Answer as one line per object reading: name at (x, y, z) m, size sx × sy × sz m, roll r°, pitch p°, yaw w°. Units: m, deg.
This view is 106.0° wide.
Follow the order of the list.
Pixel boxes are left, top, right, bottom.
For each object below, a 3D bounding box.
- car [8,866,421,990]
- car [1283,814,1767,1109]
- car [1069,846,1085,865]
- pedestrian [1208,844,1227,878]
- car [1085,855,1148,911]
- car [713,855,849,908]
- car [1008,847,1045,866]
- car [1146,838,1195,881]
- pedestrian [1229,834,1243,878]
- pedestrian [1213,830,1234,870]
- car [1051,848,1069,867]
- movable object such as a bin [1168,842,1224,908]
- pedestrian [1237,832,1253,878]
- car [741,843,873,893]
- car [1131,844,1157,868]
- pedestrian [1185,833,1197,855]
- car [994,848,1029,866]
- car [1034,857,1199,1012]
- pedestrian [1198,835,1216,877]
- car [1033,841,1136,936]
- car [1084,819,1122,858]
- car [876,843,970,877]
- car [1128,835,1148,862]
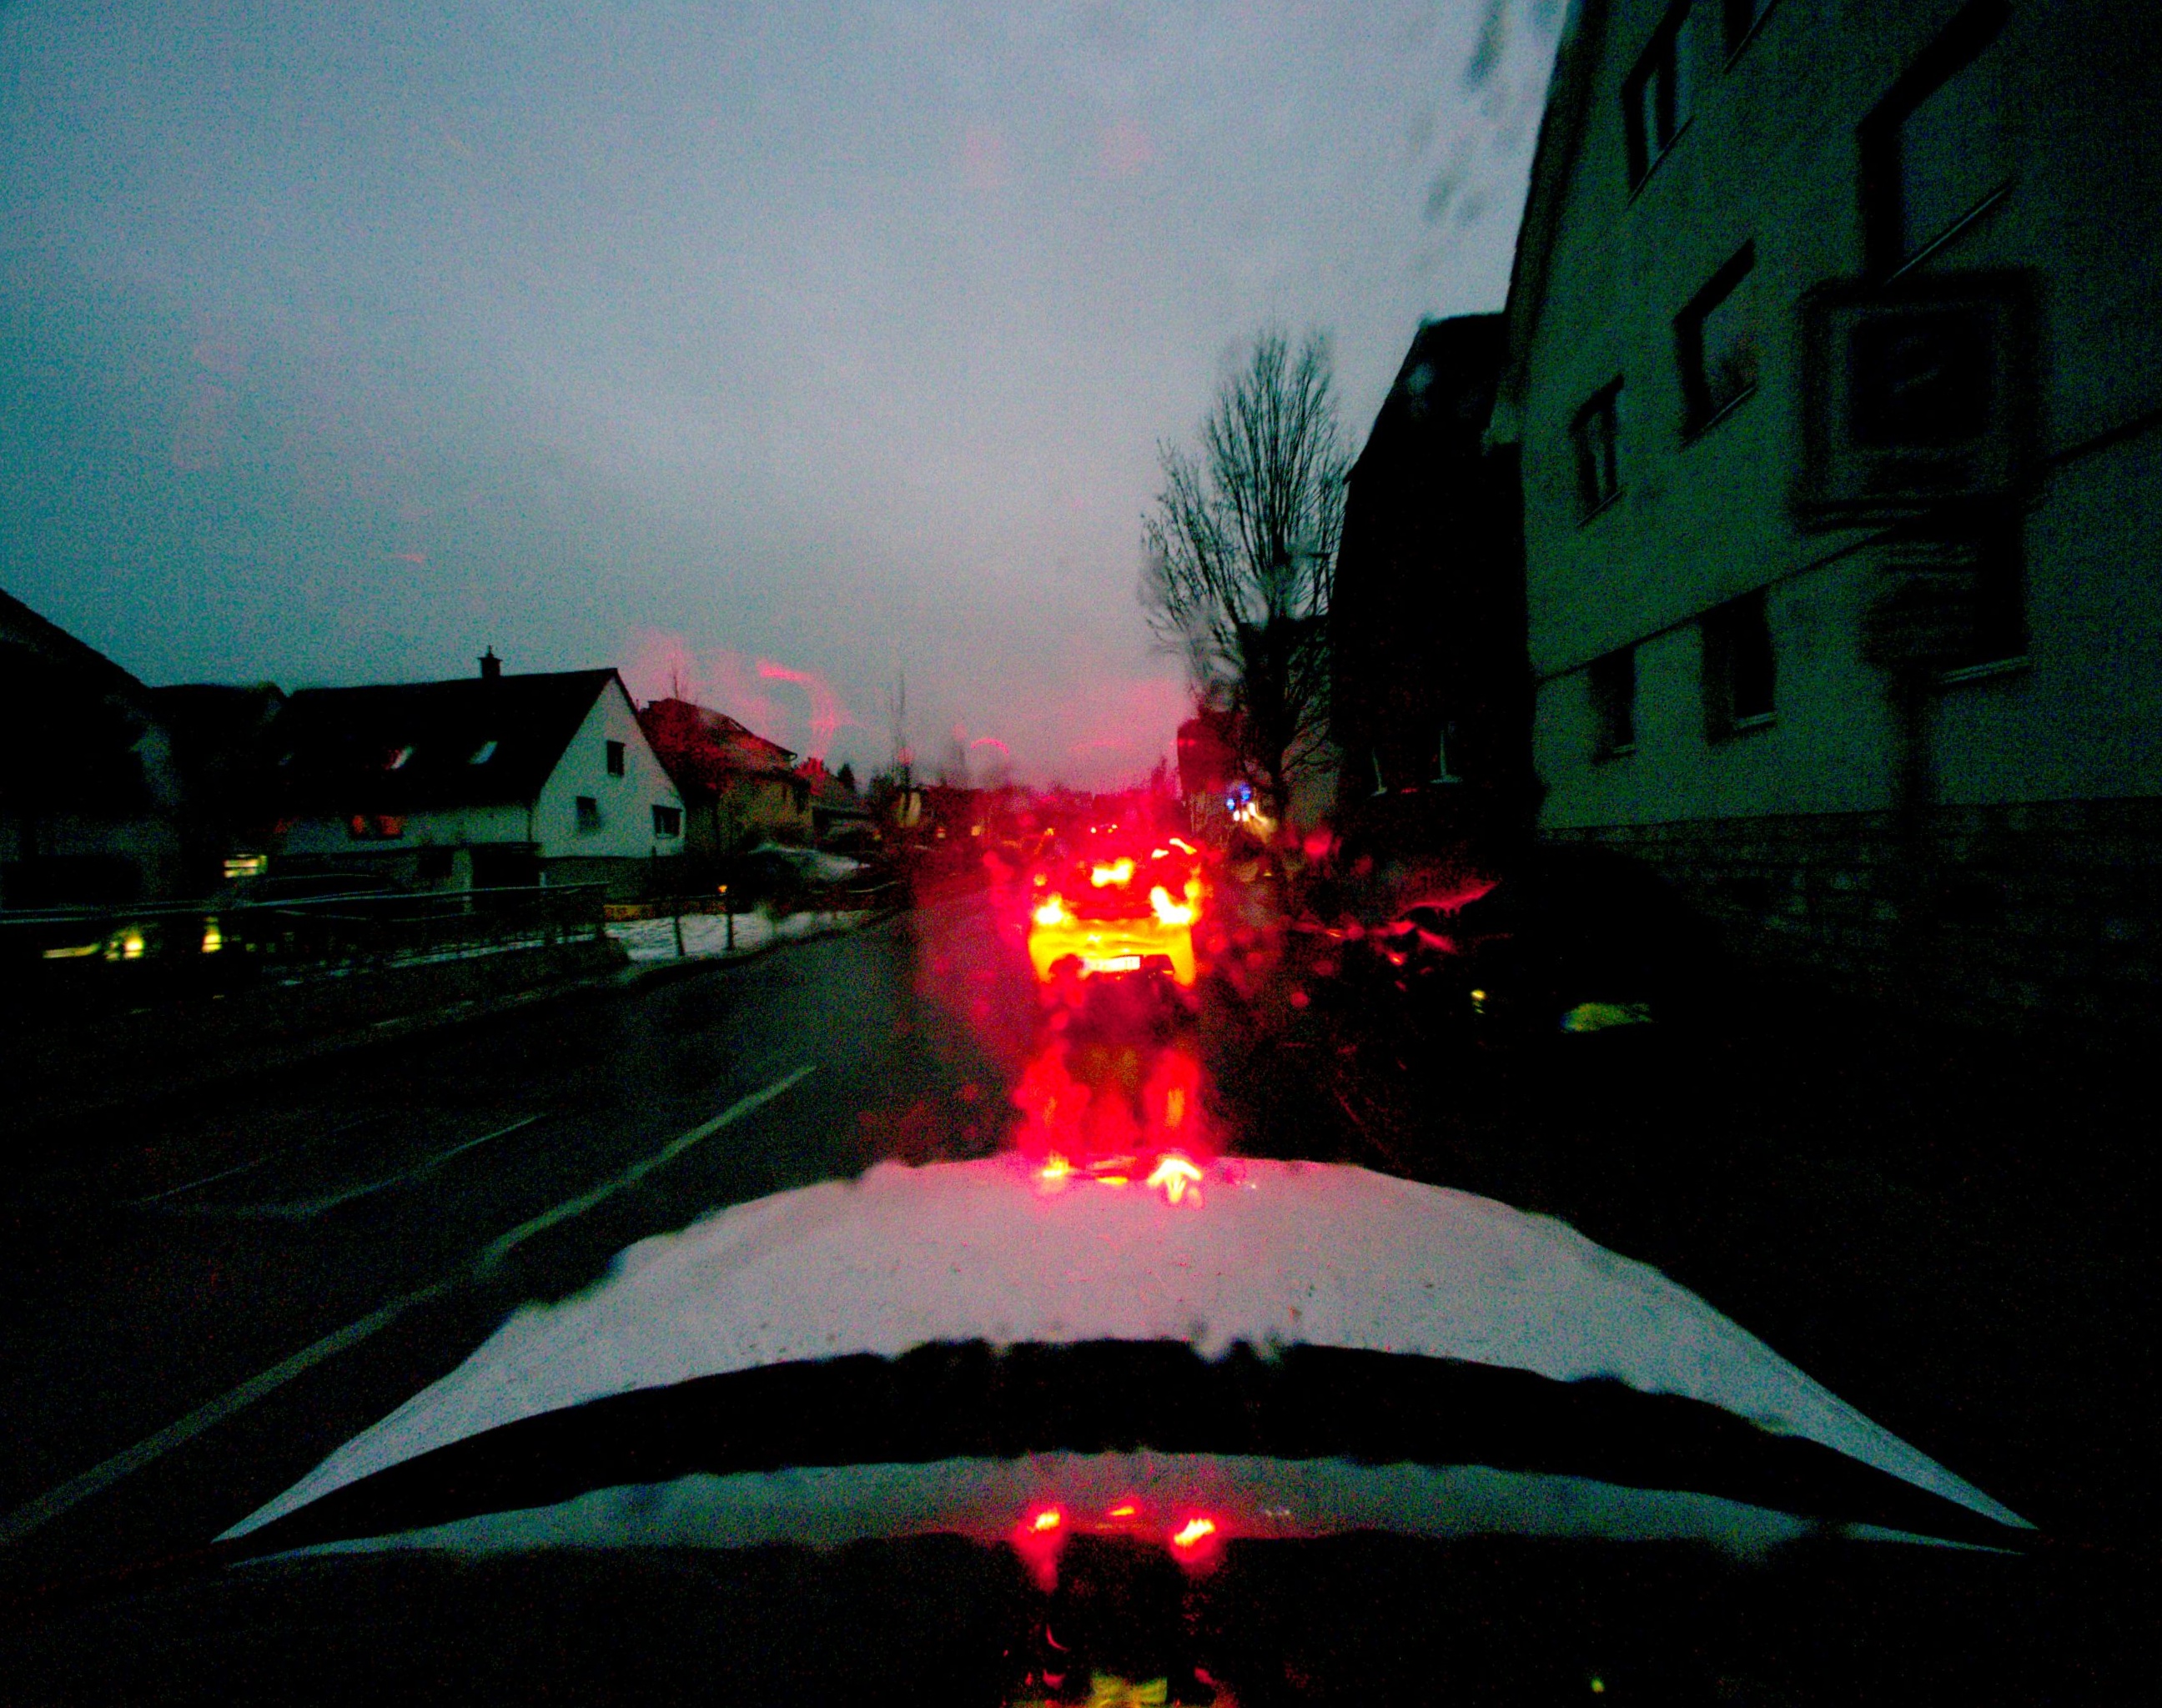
car at (-14.134, 1.087, 13.816) m, size 1.794 × 1.482 × 4.578 m, roll -4°, pitch 1°, yaw 4°
car at (2.901, 0.550, 6.489) m, size 1.720 × 1.464 × 4.204 m, roll -5°, pitch 1°, yaw 4°
car at (-0.441, 0.196, 98.576) m, size 1.913 × 2.216 × 3.974 m, roll -1°, pitch -2°, yaw 0°
pedestrian at (6.794, 0.353, 40.546) m, size 0.618 × 1.626 × 0.903 m, roll -2°, pitch 2°, yaw -11°
car at (0.943, 0.722, 21.972) m, size 1.535 × 1.331 × 3.313 m, roll -1°, pitch 1°, yaw 2°
car at (-8.973, 0.806, 24.520) m, size 3.432 × 1.372 × 1.601 m, roll -3°, pitch 0°, yaw 1°
car at (-6.559, 0.325, 97.421) m, size 2.011 × 2.166 × 4.332 m, roll 1°, pitch -3°, yaw -44°
car at (3.847, 0.213, 35.704) m, size 1.729 × 1.692 × 4.387 m, roll -2°, pitch 0°, yaw 1°
pedestrian at (6.509, 0.082, 34.167) m, size 0.525 × 1.800 × 0.867 m, roll -1°, pitch 1°, yaw 12°
pedestrian at (6.320, -0.188, 36.071) m, size 0.707 × 1.715 × 1.039 m, roll -3°, pitch 1°, yaw 15°
car at (-2.289, 0.440, 90.695) m, size 1.913 × 2.028 × 3.974 m, roll -1°, pitch -2°, yaw 0°
movable object such as a bin at (2.717, 0.471, 19.410) m, size 1.124 × 1.420 × 1.419 m, roll -5°, pitch 1°, yaw 4°
pedestrian at (5.986, 0.038, 29.700) m, size 0.525 × 1.653 × 0.957 m, roll -1°, pitch -2°, yaw 12°
car at (-9.125, 0.457, 27.270) m, size 3.772 × 1.523 × 1.719 m, roll -1°, pitch 0°, yaw 8°
car at (5.207, 0.140, 67.637) m, size 1.990 × 1.865 × 4.085 m, roll -1°, pitch 0°, yaw 2°
pedestrian at (7.818, -0.690, 57.720) m, size 0.618 × 1.515 × 0.731 m, roll -2°, pitch 2°, yaw -11°
car at (-8.013, 0.402, 94.145) m, size 1.833 × 1.976 × 4.117 m, roll 1°, pitch -3°, yaw -44°
car at (0.392, 0.776, 9.276) m, size 1.557 × 1.412 × 3.019 m, roll -1°, pitch 0°, yaw 2°
pedestrian at (5.309, 0.092, 34.290) m, size 0.570 × 1.699 × 0.653 m, roll -4°, pitch 0°, yaw 3°
car at (0.123, 0.578, 15.895) m, size 1.760 × 1.628 × 3.588 m, roll -1°, pitch 1°, yaw 2°
car at (1.939, -1.280, 71.064) m, size 3.179 × 3.032 × 6.306 m, roll -1°, pitch -2°, yaw 1°
car at (-8.397, 0.298, 43.588) m, size 4.611 × 1.667 × 1.999 m, roll -1°, pitch 0°, yaw -1°
car at (5.608, -0.524, 80.051) m, size 1.862 × 2.469 × 4.447 m, roll -1°, pitch -2°, yaw 3°
